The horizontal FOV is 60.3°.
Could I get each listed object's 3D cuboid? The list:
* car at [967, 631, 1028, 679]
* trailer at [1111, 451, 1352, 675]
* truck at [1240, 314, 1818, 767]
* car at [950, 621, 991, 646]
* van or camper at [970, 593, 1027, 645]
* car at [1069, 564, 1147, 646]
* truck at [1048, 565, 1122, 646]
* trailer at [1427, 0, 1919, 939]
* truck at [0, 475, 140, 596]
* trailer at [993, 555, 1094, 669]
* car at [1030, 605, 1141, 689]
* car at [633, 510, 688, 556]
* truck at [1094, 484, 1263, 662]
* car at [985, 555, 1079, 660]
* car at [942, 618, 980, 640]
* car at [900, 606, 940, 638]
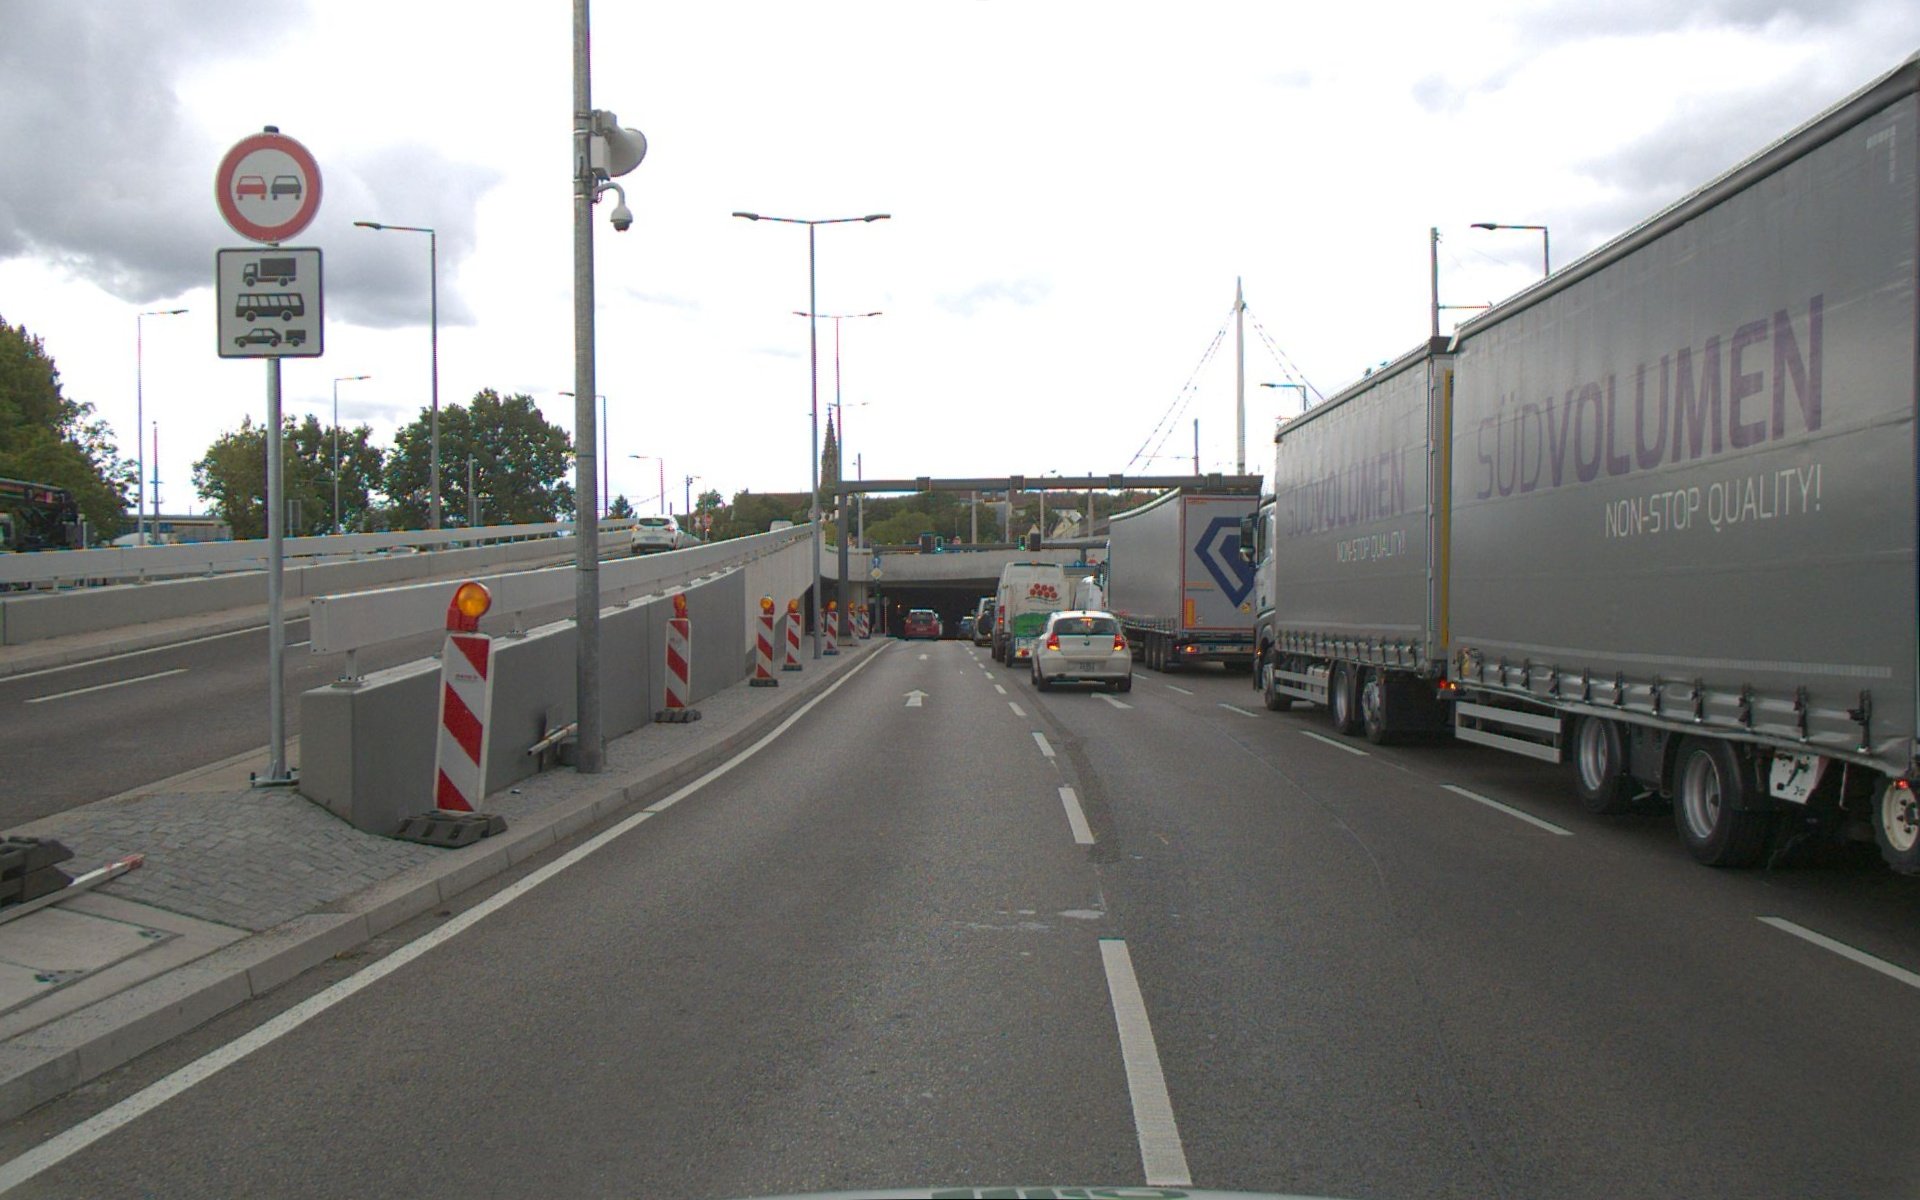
[{"bbox_3d":[1.319,1.953,59.557,1.650,1.572,3.687,2,0,-7],"label":"car"},{"bbox_3d":[6.323,-0.743,41.221,3.728,4.712,12.110,1,0,-1],"label":"trailer"},{"bbox_3d":[6.288,-0.520,21.050,3.648,4.214,10.983,1,0,1],"label":"truck"},{"bbox_3d":[0.546,1.837,89.579,1.633,1.269,3.559,0,-2,-9],"label":"car"},{"bbox_3d":[1.473,0.806,65.933,1.953,1.878,5.505,1,-2,-2],"label":"van or camper"},{"bbox_3d":[5.436,0.189,61.680,2.033,2.822,7.324,1,0,-1],"label":"car"},{"bbox_3d":[5.293,0.297,71.165,2.595,3.241,7.425,-1,-1,0],"label":"truck"},{"bbox_3d":[6.151,-0.559,10.076,3.647,4.214,10.984,1,0,1],"label":"trailer"},{"bbox_3d":[-29.065,-2.063,51.429,2.680,3.448,10.609,2,2,-6],"label":"truck"},{"bbox_3d":[2.089,0.329,42.906,2.061,2.685,4.807,3,-1,-3],"label":"trailer"},{"bbox_3d":[2.301,0.849,31.232,1.681,1.422,4.346,2,-1,-1],"label":"car"},{"bbox_3d":[-11.391,-2.523,63.139,1.710,1.457,3.770,3,-1,-6],"label":"car"},{"bbox_3d":[6.179,-0.702,48.190,3.728,4.712,7.440,1,0,-1],"label":"truck"},{"bbox_3d":[1.941,0.245,46.563,2.017,2.674,5.939,3,-1,-2],"label":"car"},{"bbox_3d":[0.027,1.874,108.547,1.956,1.411,3.992,0,0,-8],"label":"car"},{"bbox_3d":[-2.024,1.136,82.981,1.629,1.514,3.560,0,-2,-8],"label":"car"}]
